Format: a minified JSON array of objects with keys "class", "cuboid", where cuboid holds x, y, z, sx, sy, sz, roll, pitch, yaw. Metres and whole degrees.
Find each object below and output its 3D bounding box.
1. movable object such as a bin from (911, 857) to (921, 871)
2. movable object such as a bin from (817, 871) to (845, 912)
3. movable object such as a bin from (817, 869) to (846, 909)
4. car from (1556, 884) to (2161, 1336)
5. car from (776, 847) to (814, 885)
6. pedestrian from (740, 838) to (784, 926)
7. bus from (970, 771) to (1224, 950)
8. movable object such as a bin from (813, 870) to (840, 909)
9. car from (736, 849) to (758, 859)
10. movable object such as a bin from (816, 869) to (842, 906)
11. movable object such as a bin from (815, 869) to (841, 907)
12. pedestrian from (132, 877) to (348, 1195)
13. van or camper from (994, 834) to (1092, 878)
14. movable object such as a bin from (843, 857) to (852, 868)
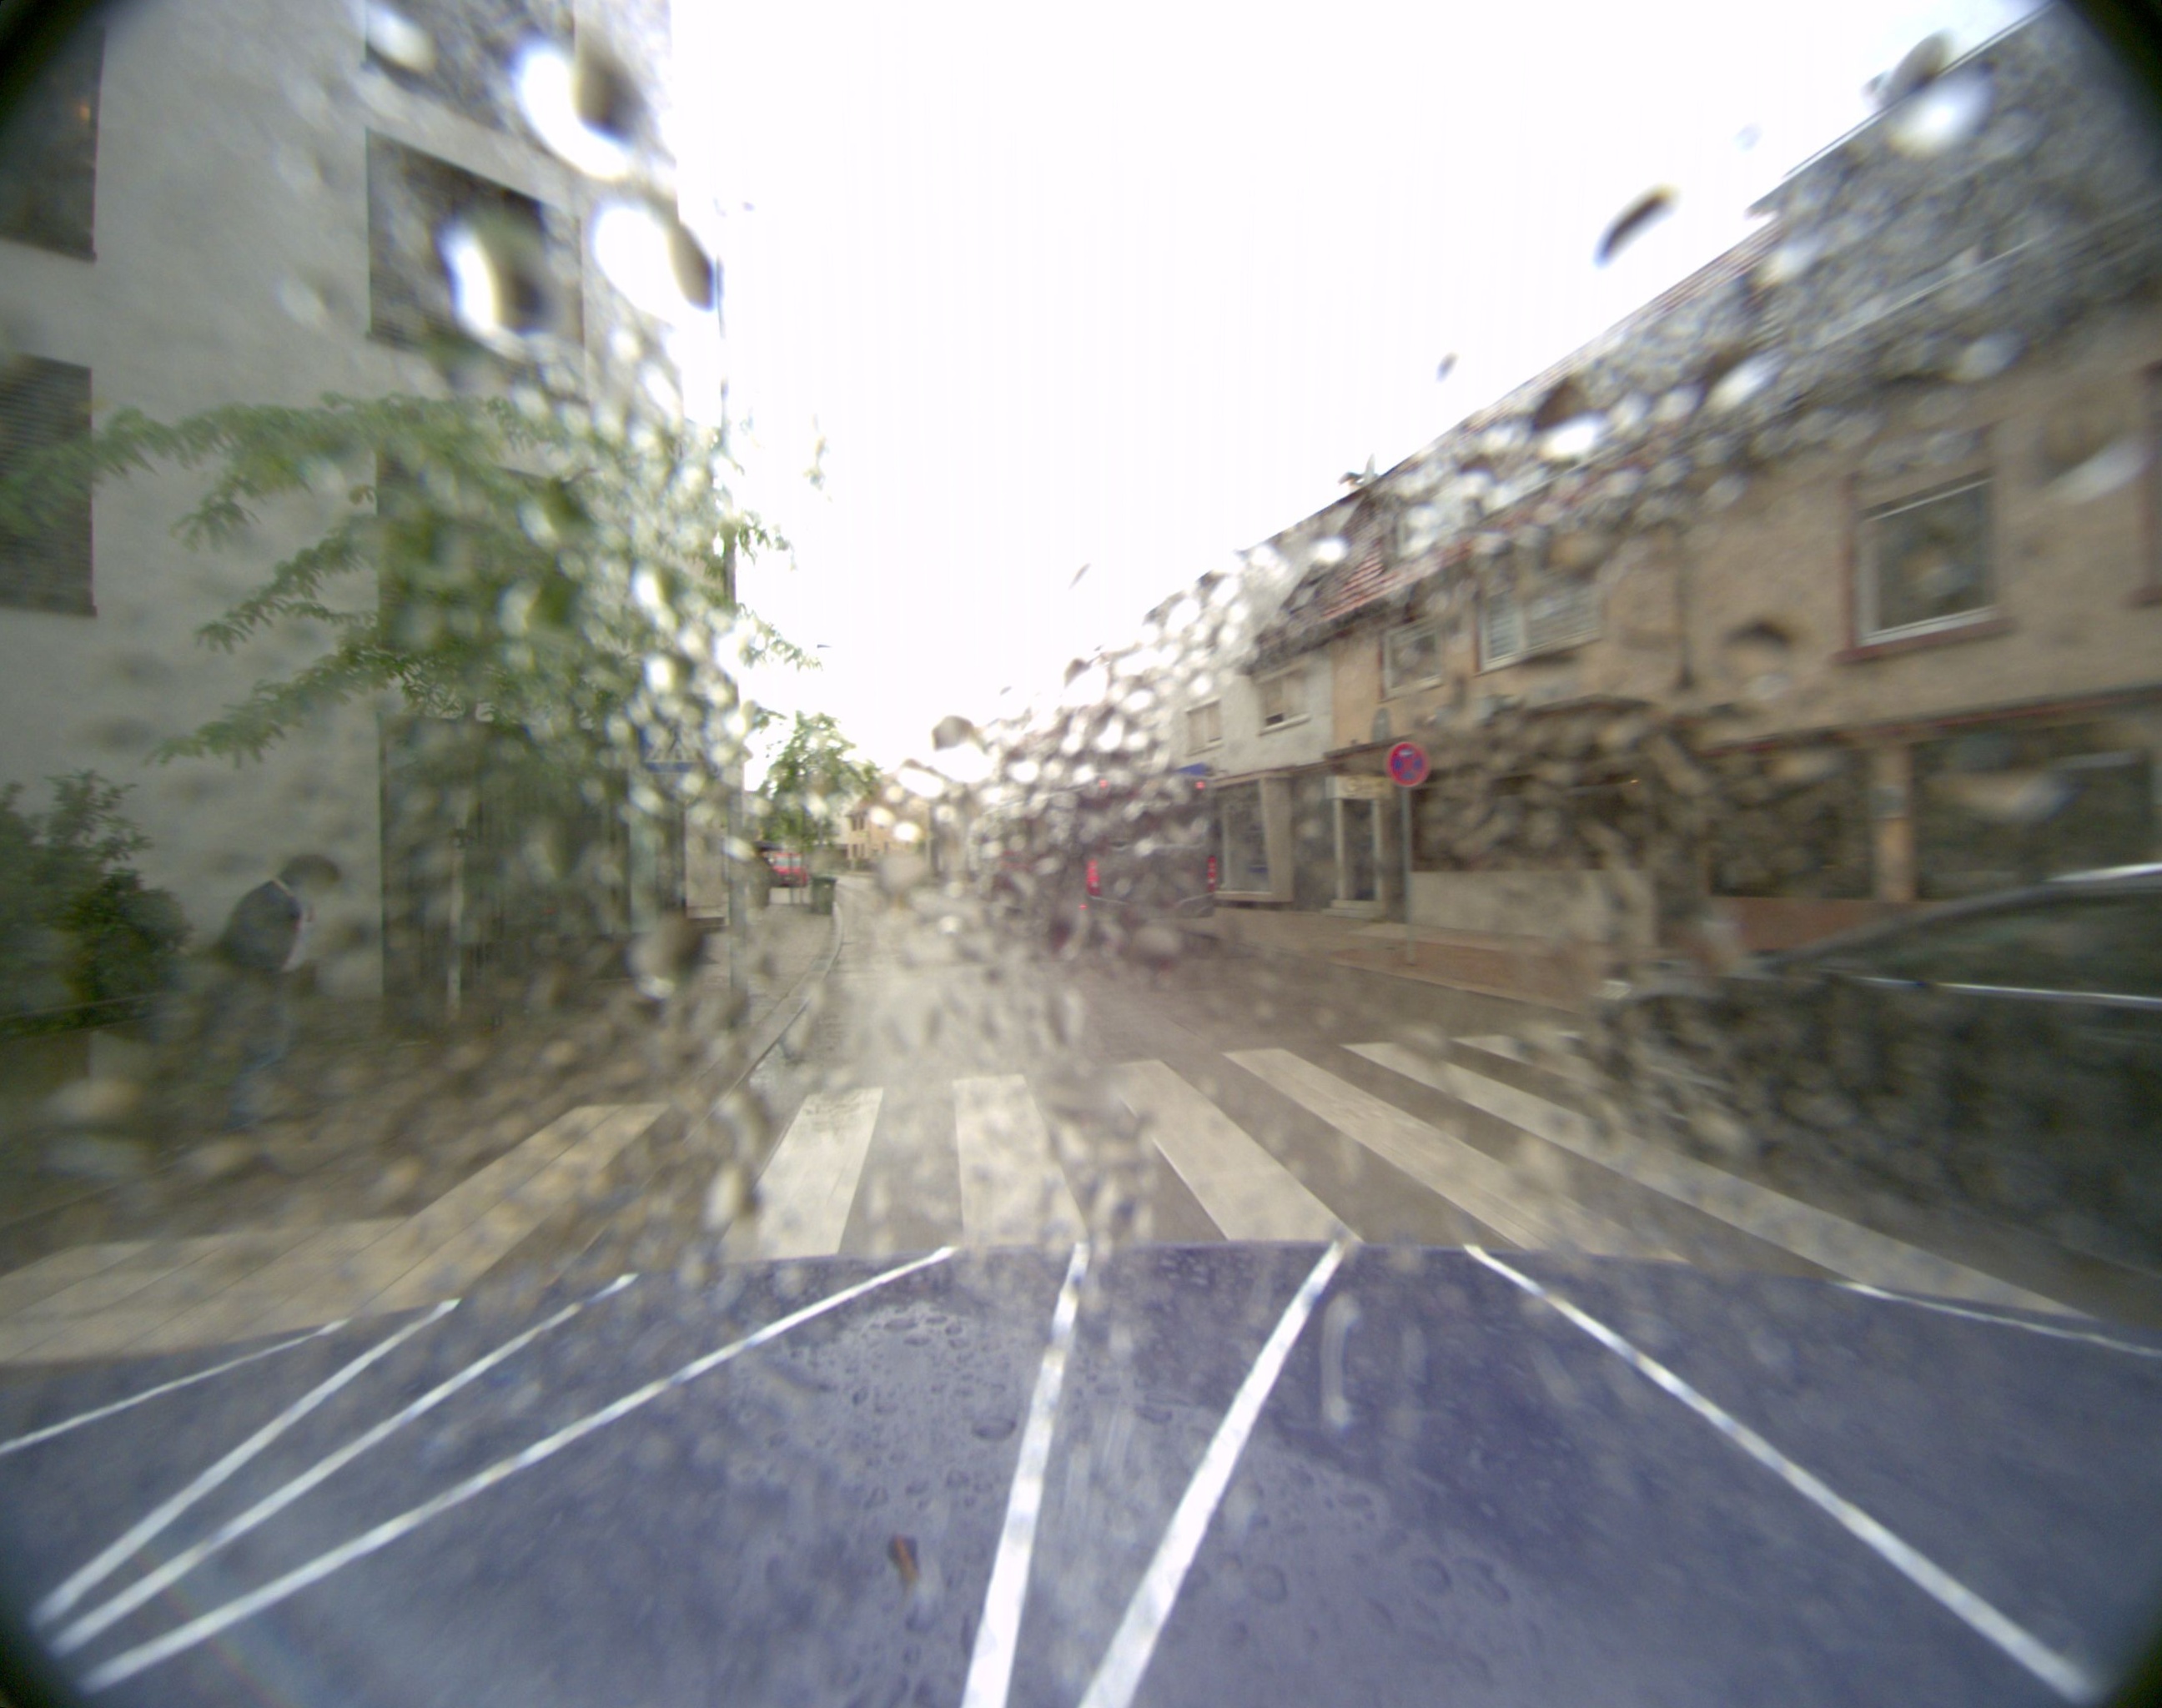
[{"class":"movable object such as a bin","cuboid":[-13.404,0.851,61.864,0.660,1.102,0.719,2,0,-21]},{"class":"movable object such as a bin","cuboid":[-7.005,1.042,21.309,0.726,1.111,0.575,-2,1,-18]},{"class":"movable object such as a bin","cuboid":[-7.367,1.020,22.445,0.764,1.111,0.623,-2,1,-18]},{"class":"car","cuboid":[4.376,0.885,2.718,1.672,1.422,4.461,1,-1,-20]},{"class":"car","cuboid":[-15.579,0.625,41.309,1.844,1.896,4.595,1,1,-22]},{"class":"pedestrian","cuboid":[-7.596,0.643,18.127,0.871,2.002,1.080,-2,2,-23]},{"class":"bus","cuboid":[-0.412,0.054,18.571,2.734,3.062,10.928,-2,1,-18]},{"class":"movable object such as a bin","cuboid":[-7.829,1.091,23.388,0.754,1.164,0.629,0,1,-15]},{"class":"car","cuboid":[-49.762,-0.053,113.181,2.003,1.438,3.989,-2,2,-37]},{"class":"movable object such as a bin","cuboid":[-8.169,1.069,24.681,0.754,1.164,0.629,0,1,-15]},{"class":"movable object such as a bin","cuboid":[-7.999,1.078,24.037,0.754,1.164,0.629,0,1,-15]},{"class":"pedestrian","cuboid":[-4.716,0.944,4.318,0.585,1.596,0.702,0,1,-25]},{"class":"van or camper","cuboid":[-2.163,0.067,43.319,5.044,1.923,1.996,-7,4,-22]},{"class":"movable object such as a bin","cuboid":[-22.390,0.812,72.765,0.716,1.053,0.574,-2,2,-27]}]
